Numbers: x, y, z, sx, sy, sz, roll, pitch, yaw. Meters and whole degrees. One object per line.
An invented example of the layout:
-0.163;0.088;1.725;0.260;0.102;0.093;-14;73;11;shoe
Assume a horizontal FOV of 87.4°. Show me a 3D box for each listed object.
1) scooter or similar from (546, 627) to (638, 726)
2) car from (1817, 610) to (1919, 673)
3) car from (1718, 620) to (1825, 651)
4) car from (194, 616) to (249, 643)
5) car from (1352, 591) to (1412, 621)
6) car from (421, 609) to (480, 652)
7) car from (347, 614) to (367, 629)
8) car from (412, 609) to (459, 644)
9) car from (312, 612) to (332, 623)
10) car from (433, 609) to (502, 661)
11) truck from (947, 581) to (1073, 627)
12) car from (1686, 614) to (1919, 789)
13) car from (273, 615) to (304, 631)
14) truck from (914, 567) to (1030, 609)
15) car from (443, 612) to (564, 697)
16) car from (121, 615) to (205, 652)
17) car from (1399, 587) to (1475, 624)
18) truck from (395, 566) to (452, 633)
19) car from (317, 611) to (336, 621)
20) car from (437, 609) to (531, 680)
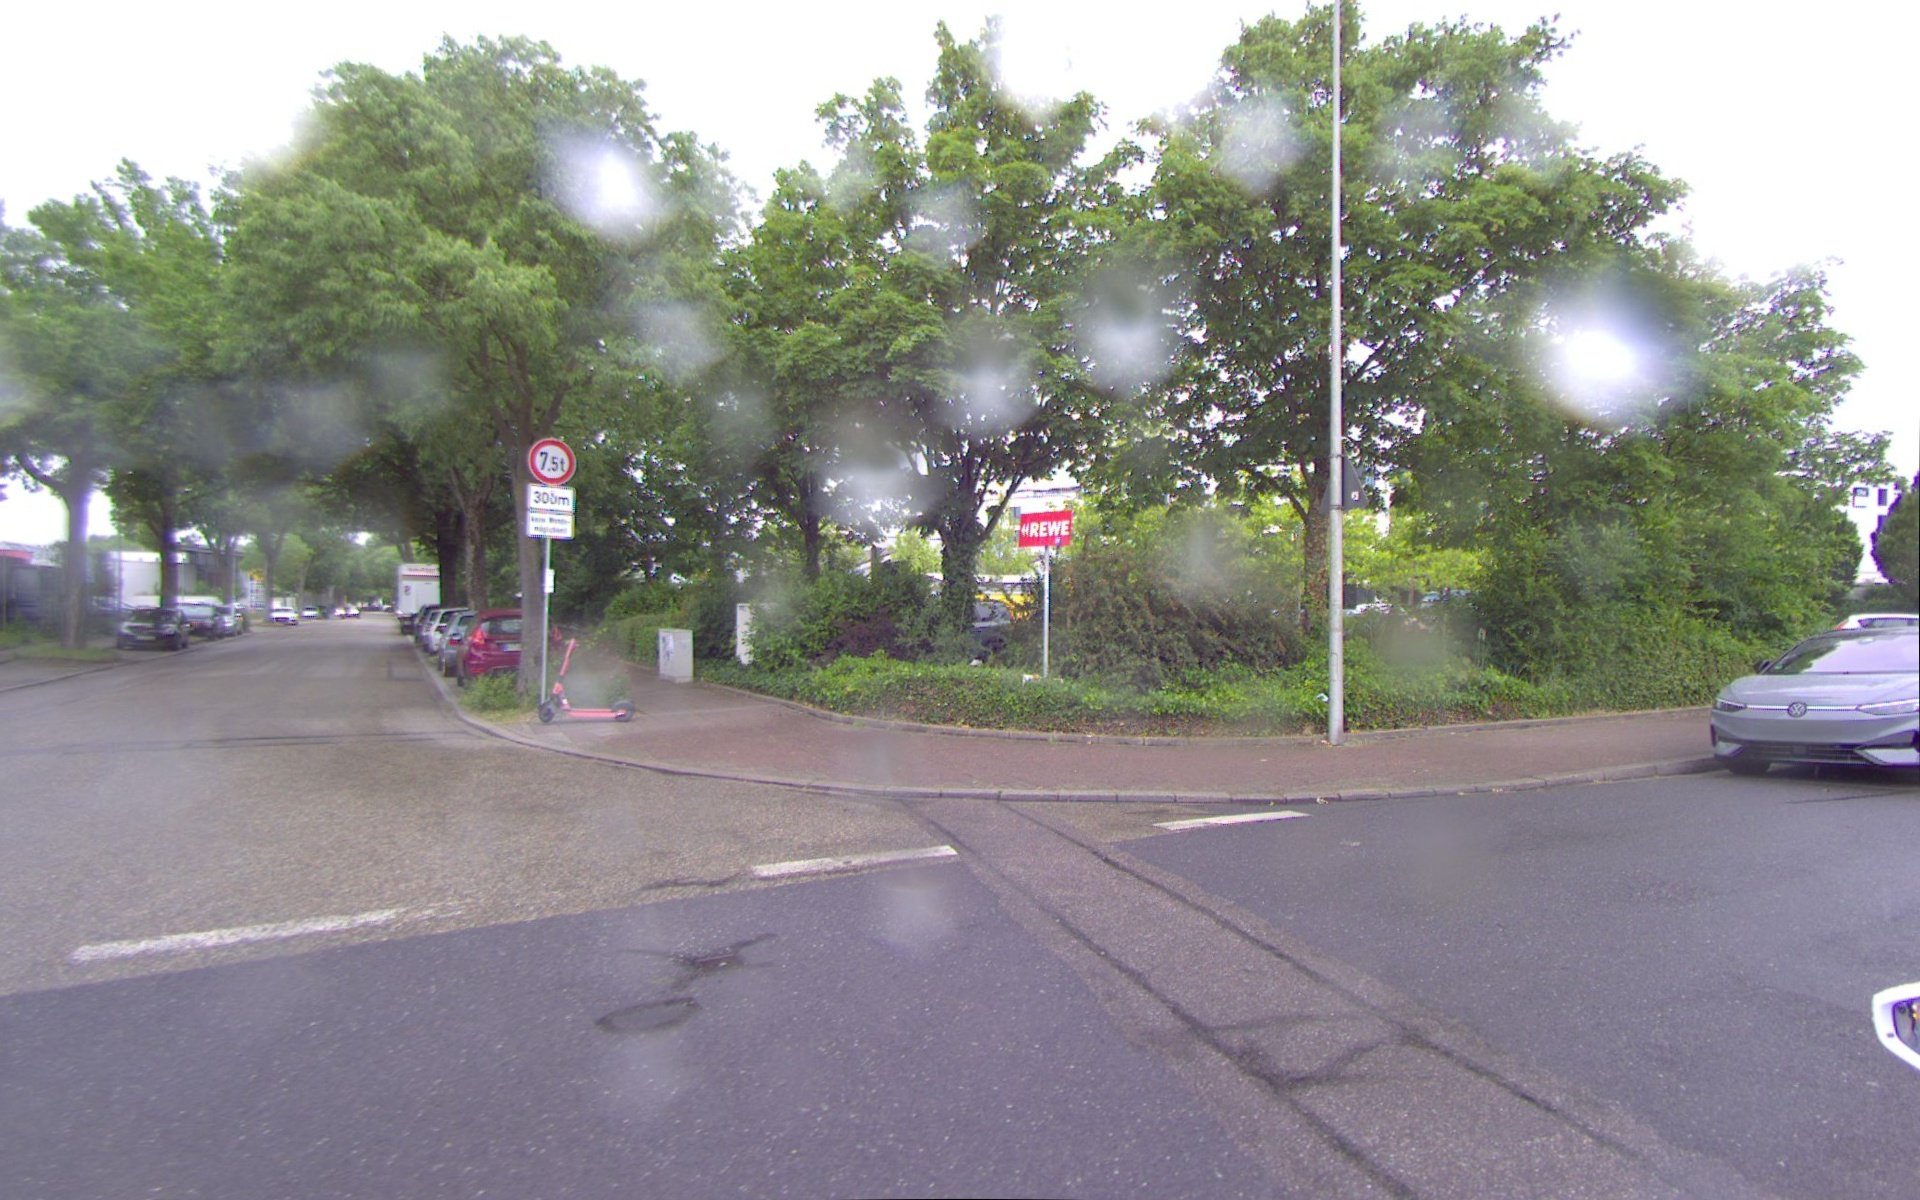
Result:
-4.558;0.935;12.452;1.045;1.191;0.283;1;0;-22;scooter or similar
23.613;1.014;24.239;1.693;1.479;4.168;1;0;-31;car
42.786;1.836;53.034;1.974;1.519;3.973;0;-1;-27;car
-35.883;1.425;48.884;1.550;1.219;3.972;1;-1;-27;car
30.747;0.428;73.216;3.951;2.040;1.985;1;0;-29;car
-17.989;1.056;35.388;1.715;1.401;4.066;0;-1;-29;car
-68.057;2.385;113.306;1.904;1.593;3.966;1;-1;-31;car
-22.466;1.109;42.956;1.715;1.401;4.066;0;-1;-29;car
-70.284;1.949;110.708;1.550;1.219;3.972;1;-1;-27;car
-15.123;1.038;30.763;1.715;1.460;3.969;0;-1;-29;car
2.471;0.222;48.795;6.065;2.122;1.983;1;-1;-32;truck
10.078;0.998;10.880;4.692;1.548;1.801;1;-4;-30;car
-53.137;1.802;79.553;1.550;1.219;3.972;1;-1;-27;car
0.670;-0.575;53.167;6.065;2.088;1.983;1;-1;-32;truck
-8.459;0.928;18.437;1.715;1.381;3.969;0;-1;-29;car
-28.306;1.156;35.786;1.550;1.219;3.972;1;-1;-27;car
30.545;0.364;64.326;4.754;2.328;1.985;1;0;-29;car
-29.818;0.013;55.724;2.572;3.515;6.761;1;-1;-30;truck
-74.743;1.888;118.491;1.550;1.219;3.972;1;-1;-27;car
-11.010;0.968;23.100;1.715;1.460;3.969;0;-1;-29;car
